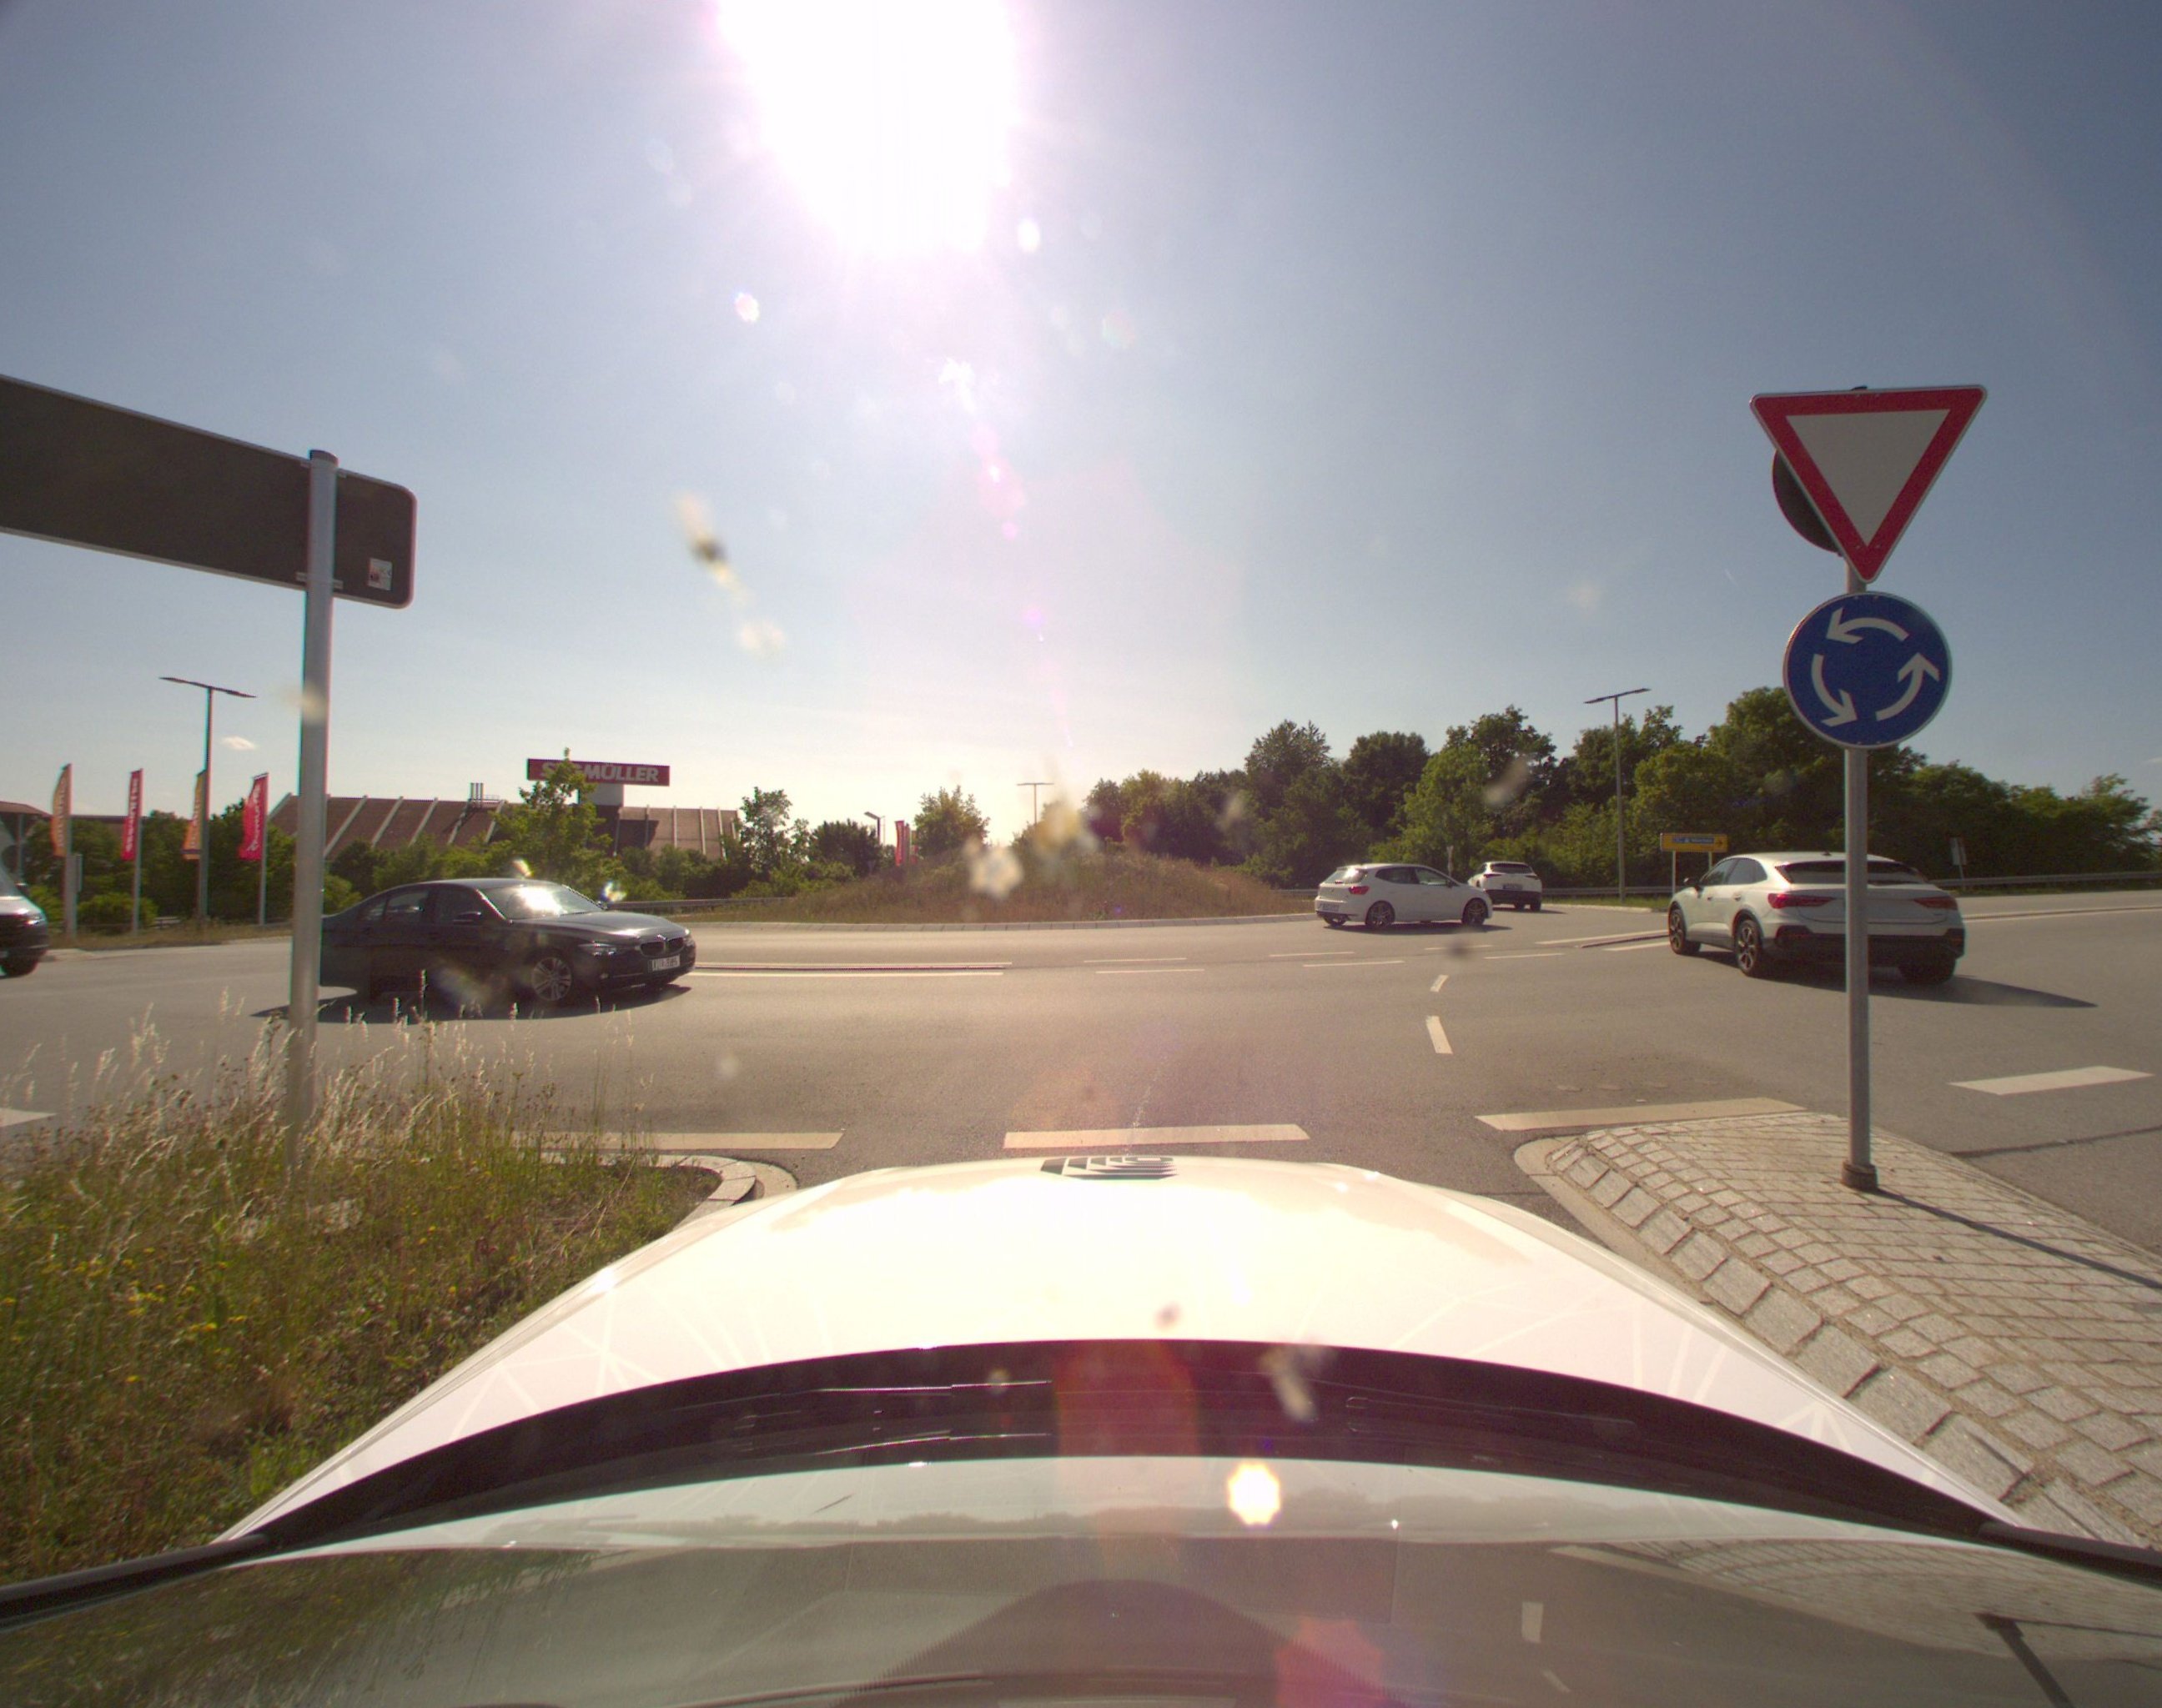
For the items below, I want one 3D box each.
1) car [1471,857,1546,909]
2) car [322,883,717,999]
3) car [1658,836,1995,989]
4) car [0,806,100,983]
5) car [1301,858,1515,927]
[{"bbox_3d":[13.827,0.939,26.553,1.770,1.530,4.311,-2,-2,23],"label":"car"},{"bbox_3d":[-6.682,0.972,9.867,3.828,1.182,1.681,0,-1,10],"label":"car"},{"bbox_3d":[9.478,0.646,10.886,1.825,1.596,4.347,-1,-1,21],"label":"car"},{"bbox_3d":[-20.829,0.811,14.088,6.082,2.921,2.090,-3,-2,9],"label":"car"},{"bbox_3d":[7.346,0.816,18.326,4.416,1.405,1.780,0,-1,-20],"label":"car"}]
